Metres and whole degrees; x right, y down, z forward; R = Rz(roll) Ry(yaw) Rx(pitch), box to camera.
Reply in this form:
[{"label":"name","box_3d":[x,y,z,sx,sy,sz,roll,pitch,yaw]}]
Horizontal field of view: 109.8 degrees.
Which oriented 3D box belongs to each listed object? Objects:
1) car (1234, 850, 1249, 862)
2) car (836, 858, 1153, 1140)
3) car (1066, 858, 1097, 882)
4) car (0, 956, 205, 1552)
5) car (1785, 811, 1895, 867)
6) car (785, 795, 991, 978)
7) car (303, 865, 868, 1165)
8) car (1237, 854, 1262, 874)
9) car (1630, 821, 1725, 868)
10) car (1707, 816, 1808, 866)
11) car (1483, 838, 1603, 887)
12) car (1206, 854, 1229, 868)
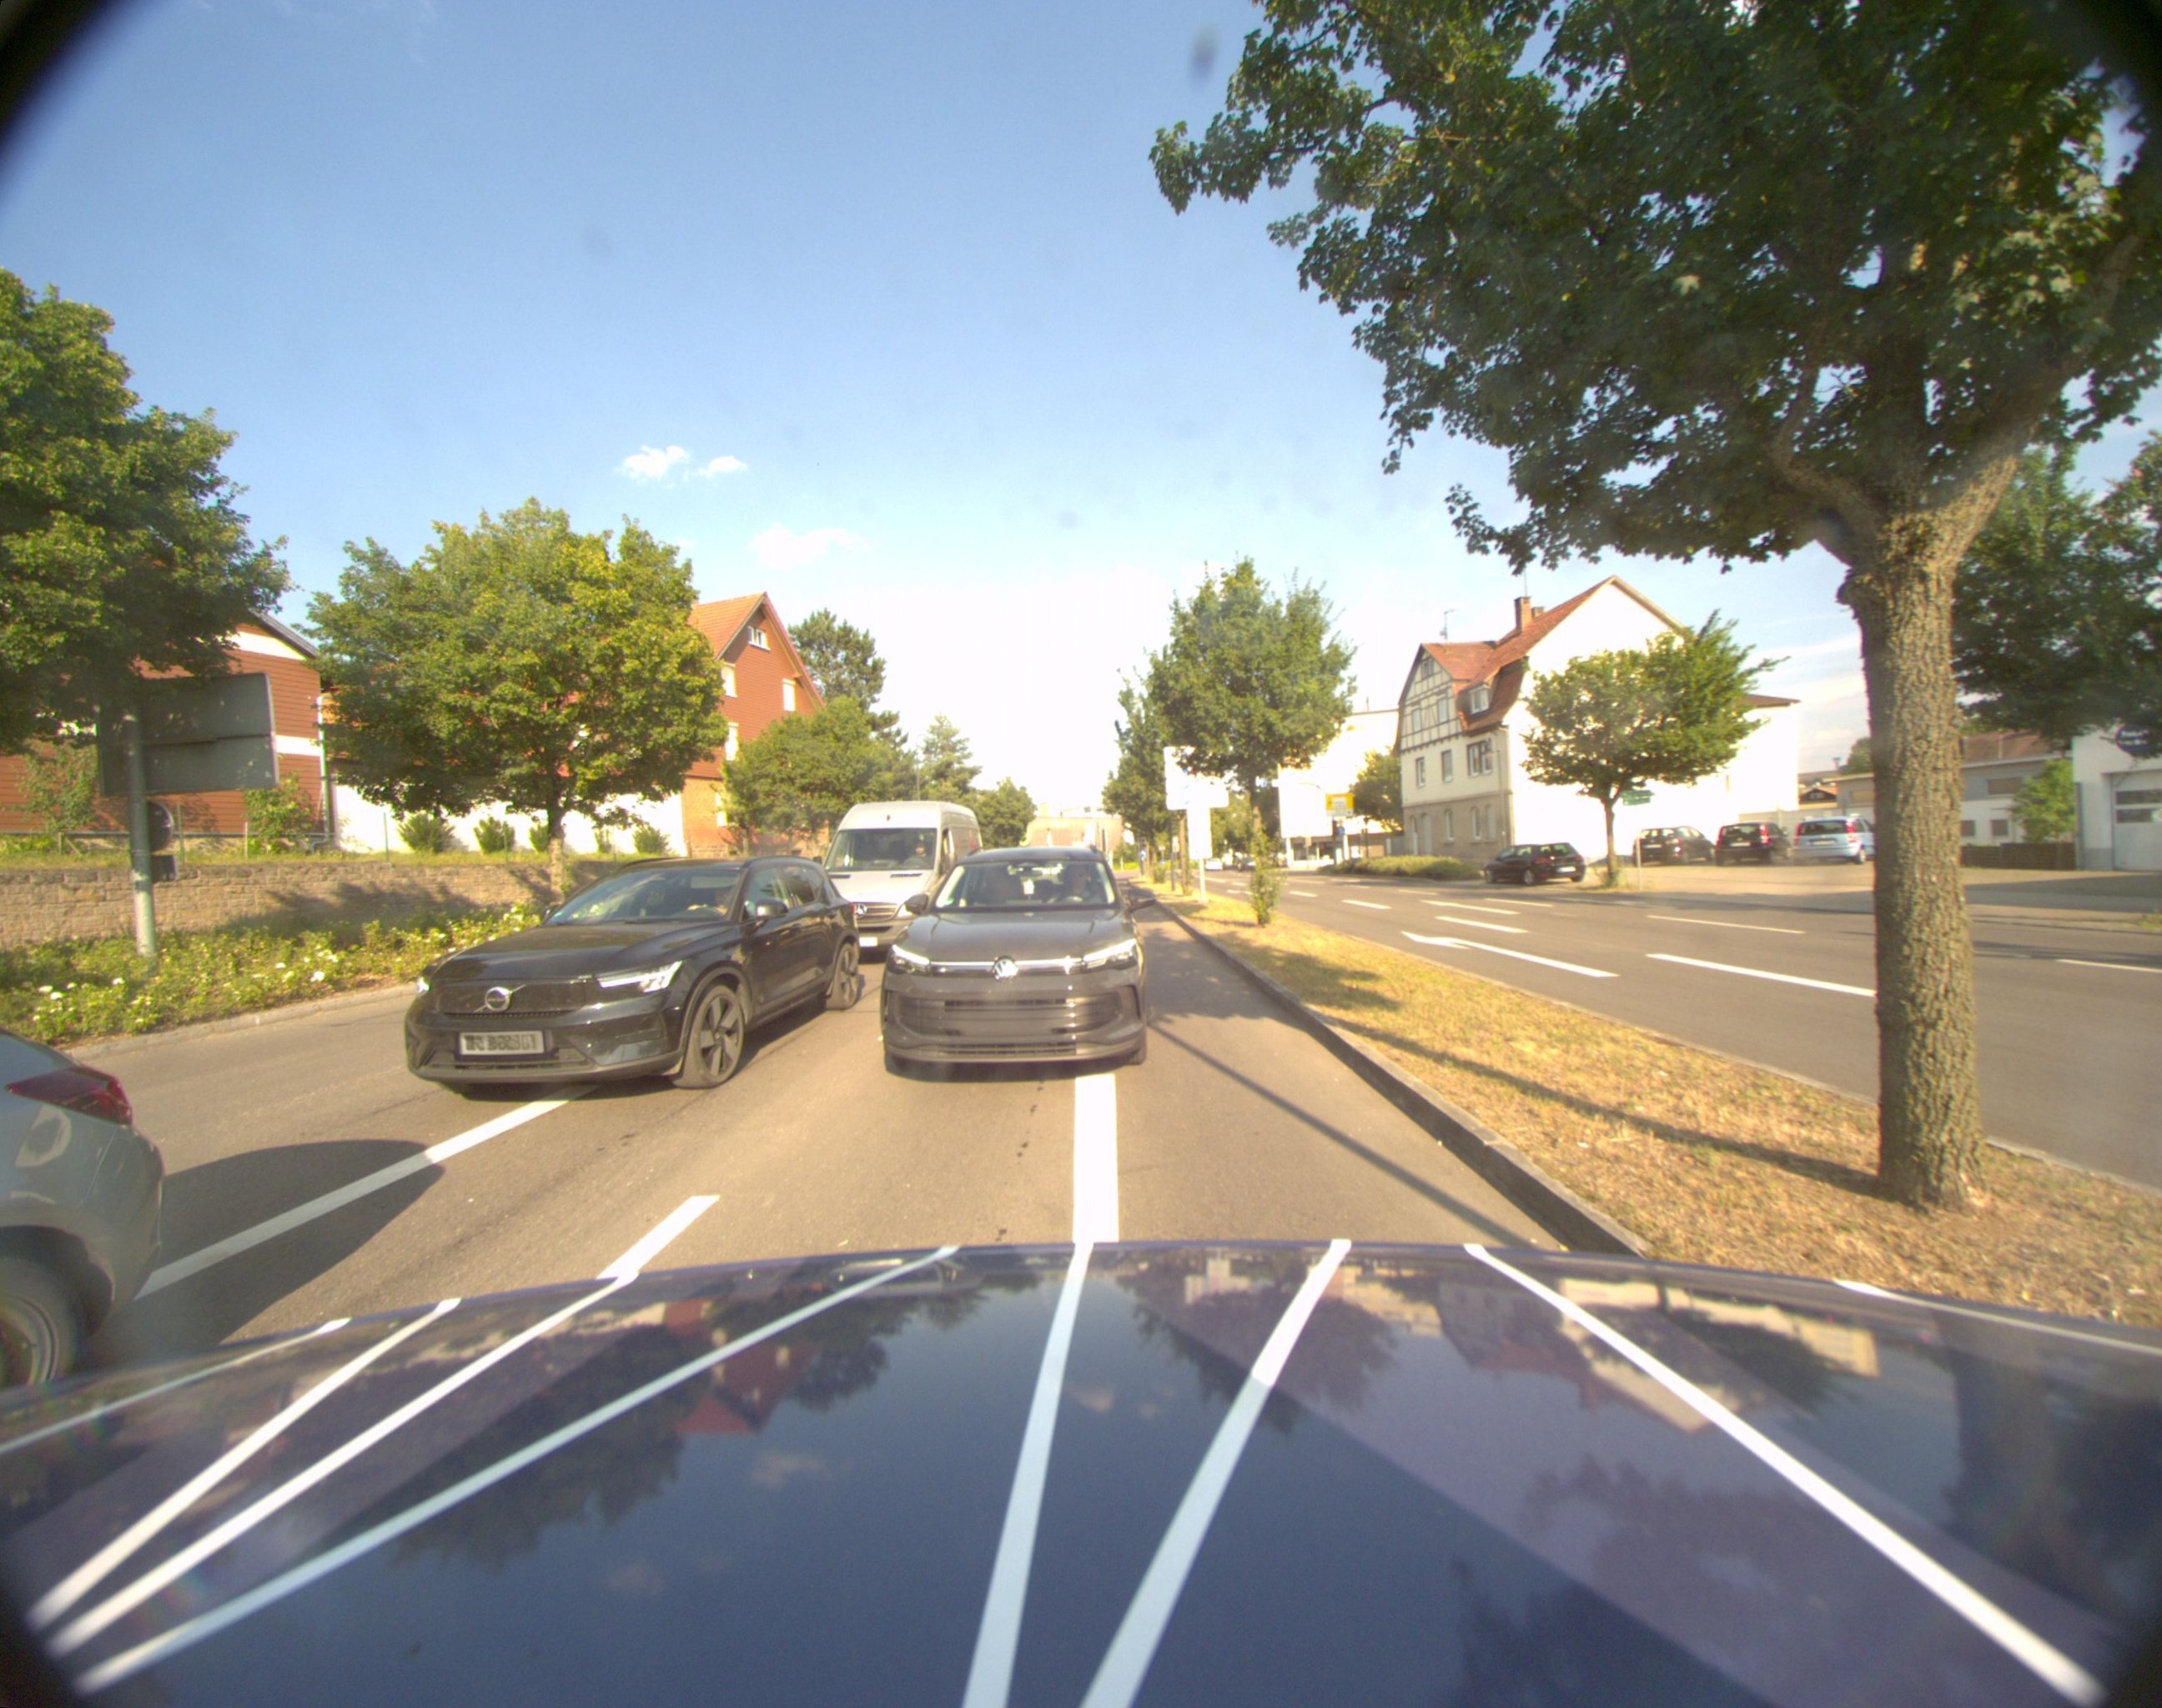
[{"label":"car","box_3d":[24.568,0.358,116.149,1.779,1.683,4.005,-2,0,17]},{"label":"car","box_3d":[-0.450,0.869,6.623,1.845,1.600,4.318,-1,0,2]},{"label":"car","box_3d":[0.092,1.170,58.273,1.785,1.664,4.002,-2,0,8]},{"label":"car","box_3d":[-3.612,1.057,0.187,1.766,1.445,4.318,-1,0,0]},{"label":"car","box_3d":[24.883,-0.503,24.894,3.830,1.493,1.816,-5,0,-35]},{"label":"car","box_3d":[-3.069,0.448,13.719,1.992,2.554,6.046,-1,0,2]},{"label":"car","box_3d":[-3.397,0.943,6.435,1.845,1.600,4.318,-1,0,2]},{"label":"car","box_3d":[15.735,0.897,71.091,1.781,1.683,4.001,-2,0,6]},{"label":"car","box_3d":[23.382,-0.392,29.756,3.830,1.493,1.816,-5,0,-35]},{"label":"car","box_3d":[24.661,-0.489,27.660,3.830,1.493,1.816,-5,0,-35]},{"label":"car","box_3d":[16.036,0.279,26.623,1.818,1.442,3.825,-5,0,1]},{"label":"car","box_3d":[16.249,0.855,90.217,1.779,1.460,4.381,-2,0,23]}]
